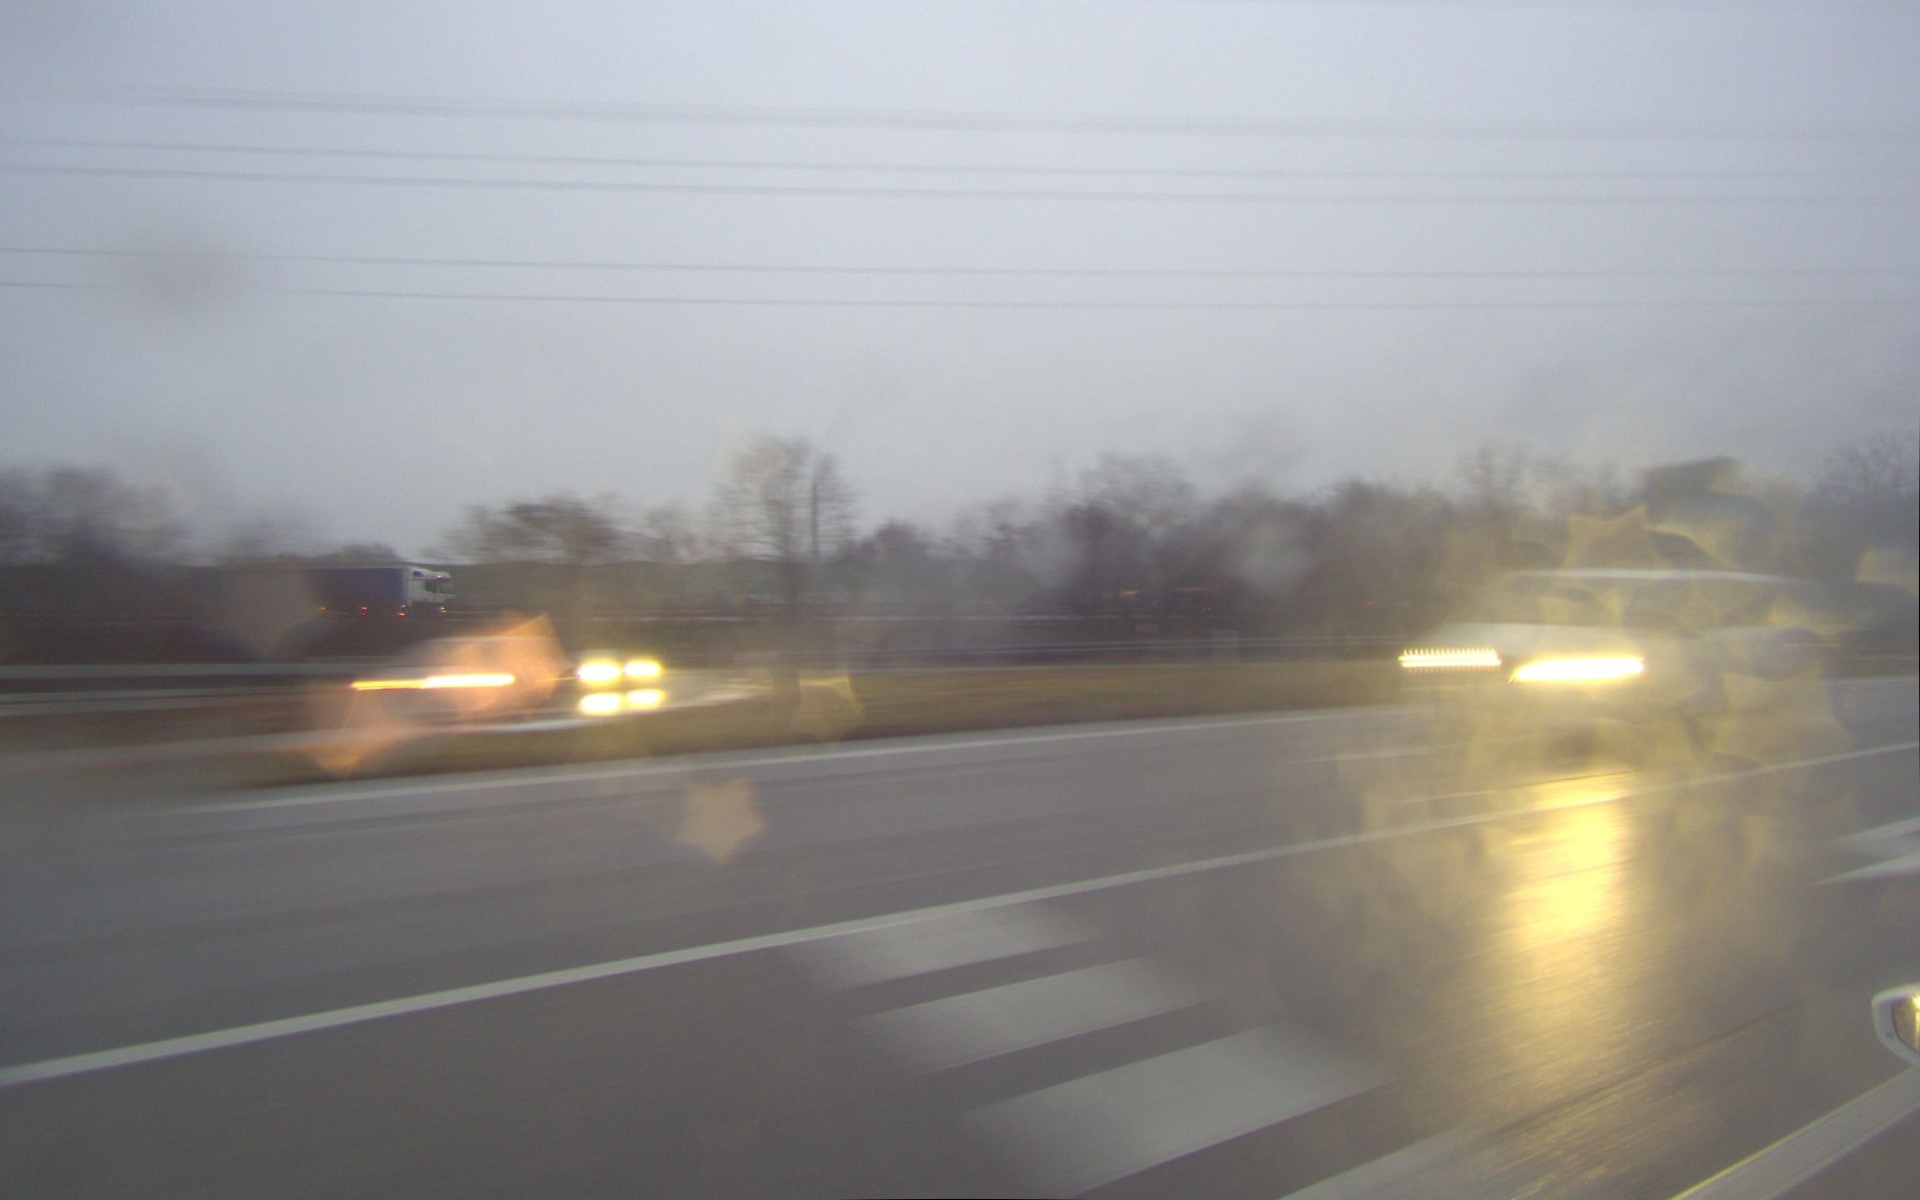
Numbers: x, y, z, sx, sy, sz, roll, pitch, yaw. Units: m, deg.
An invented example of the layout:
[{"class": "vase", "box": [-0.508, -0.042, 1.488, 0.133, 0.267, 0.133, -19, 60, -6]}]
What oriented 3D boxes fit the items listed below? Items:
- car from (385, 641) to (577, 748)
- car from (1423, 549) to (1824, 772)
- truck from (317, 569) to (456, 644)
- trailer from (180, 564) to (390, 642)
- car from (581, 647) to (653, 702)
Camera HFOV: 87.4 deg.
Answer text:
[{"class": "car", "box": [-9.086, 1.726, 19.446, 1.882, 1.654, 3.858, -2, -1, -2]}, {"class": "car", "box": [7.948, 0.640, 11.895, 5.119, 2.165, 1.863, 1, -2, -30]}, {"class": "truck", "box": [-42.929, 0.492, 75.408, 8.356, 5.198, 3.284, 2, 1, -4]}, {"class": "trailer", "box": [-50.130, 0.222, 74.899, 12.976, 5.171, 3.311, 2, 1, -4]}, {"class": "car", "box": [-12.359, 2.604, 36.033, 1.973, 1.698, 4.260, -2, -1, -25]}]
